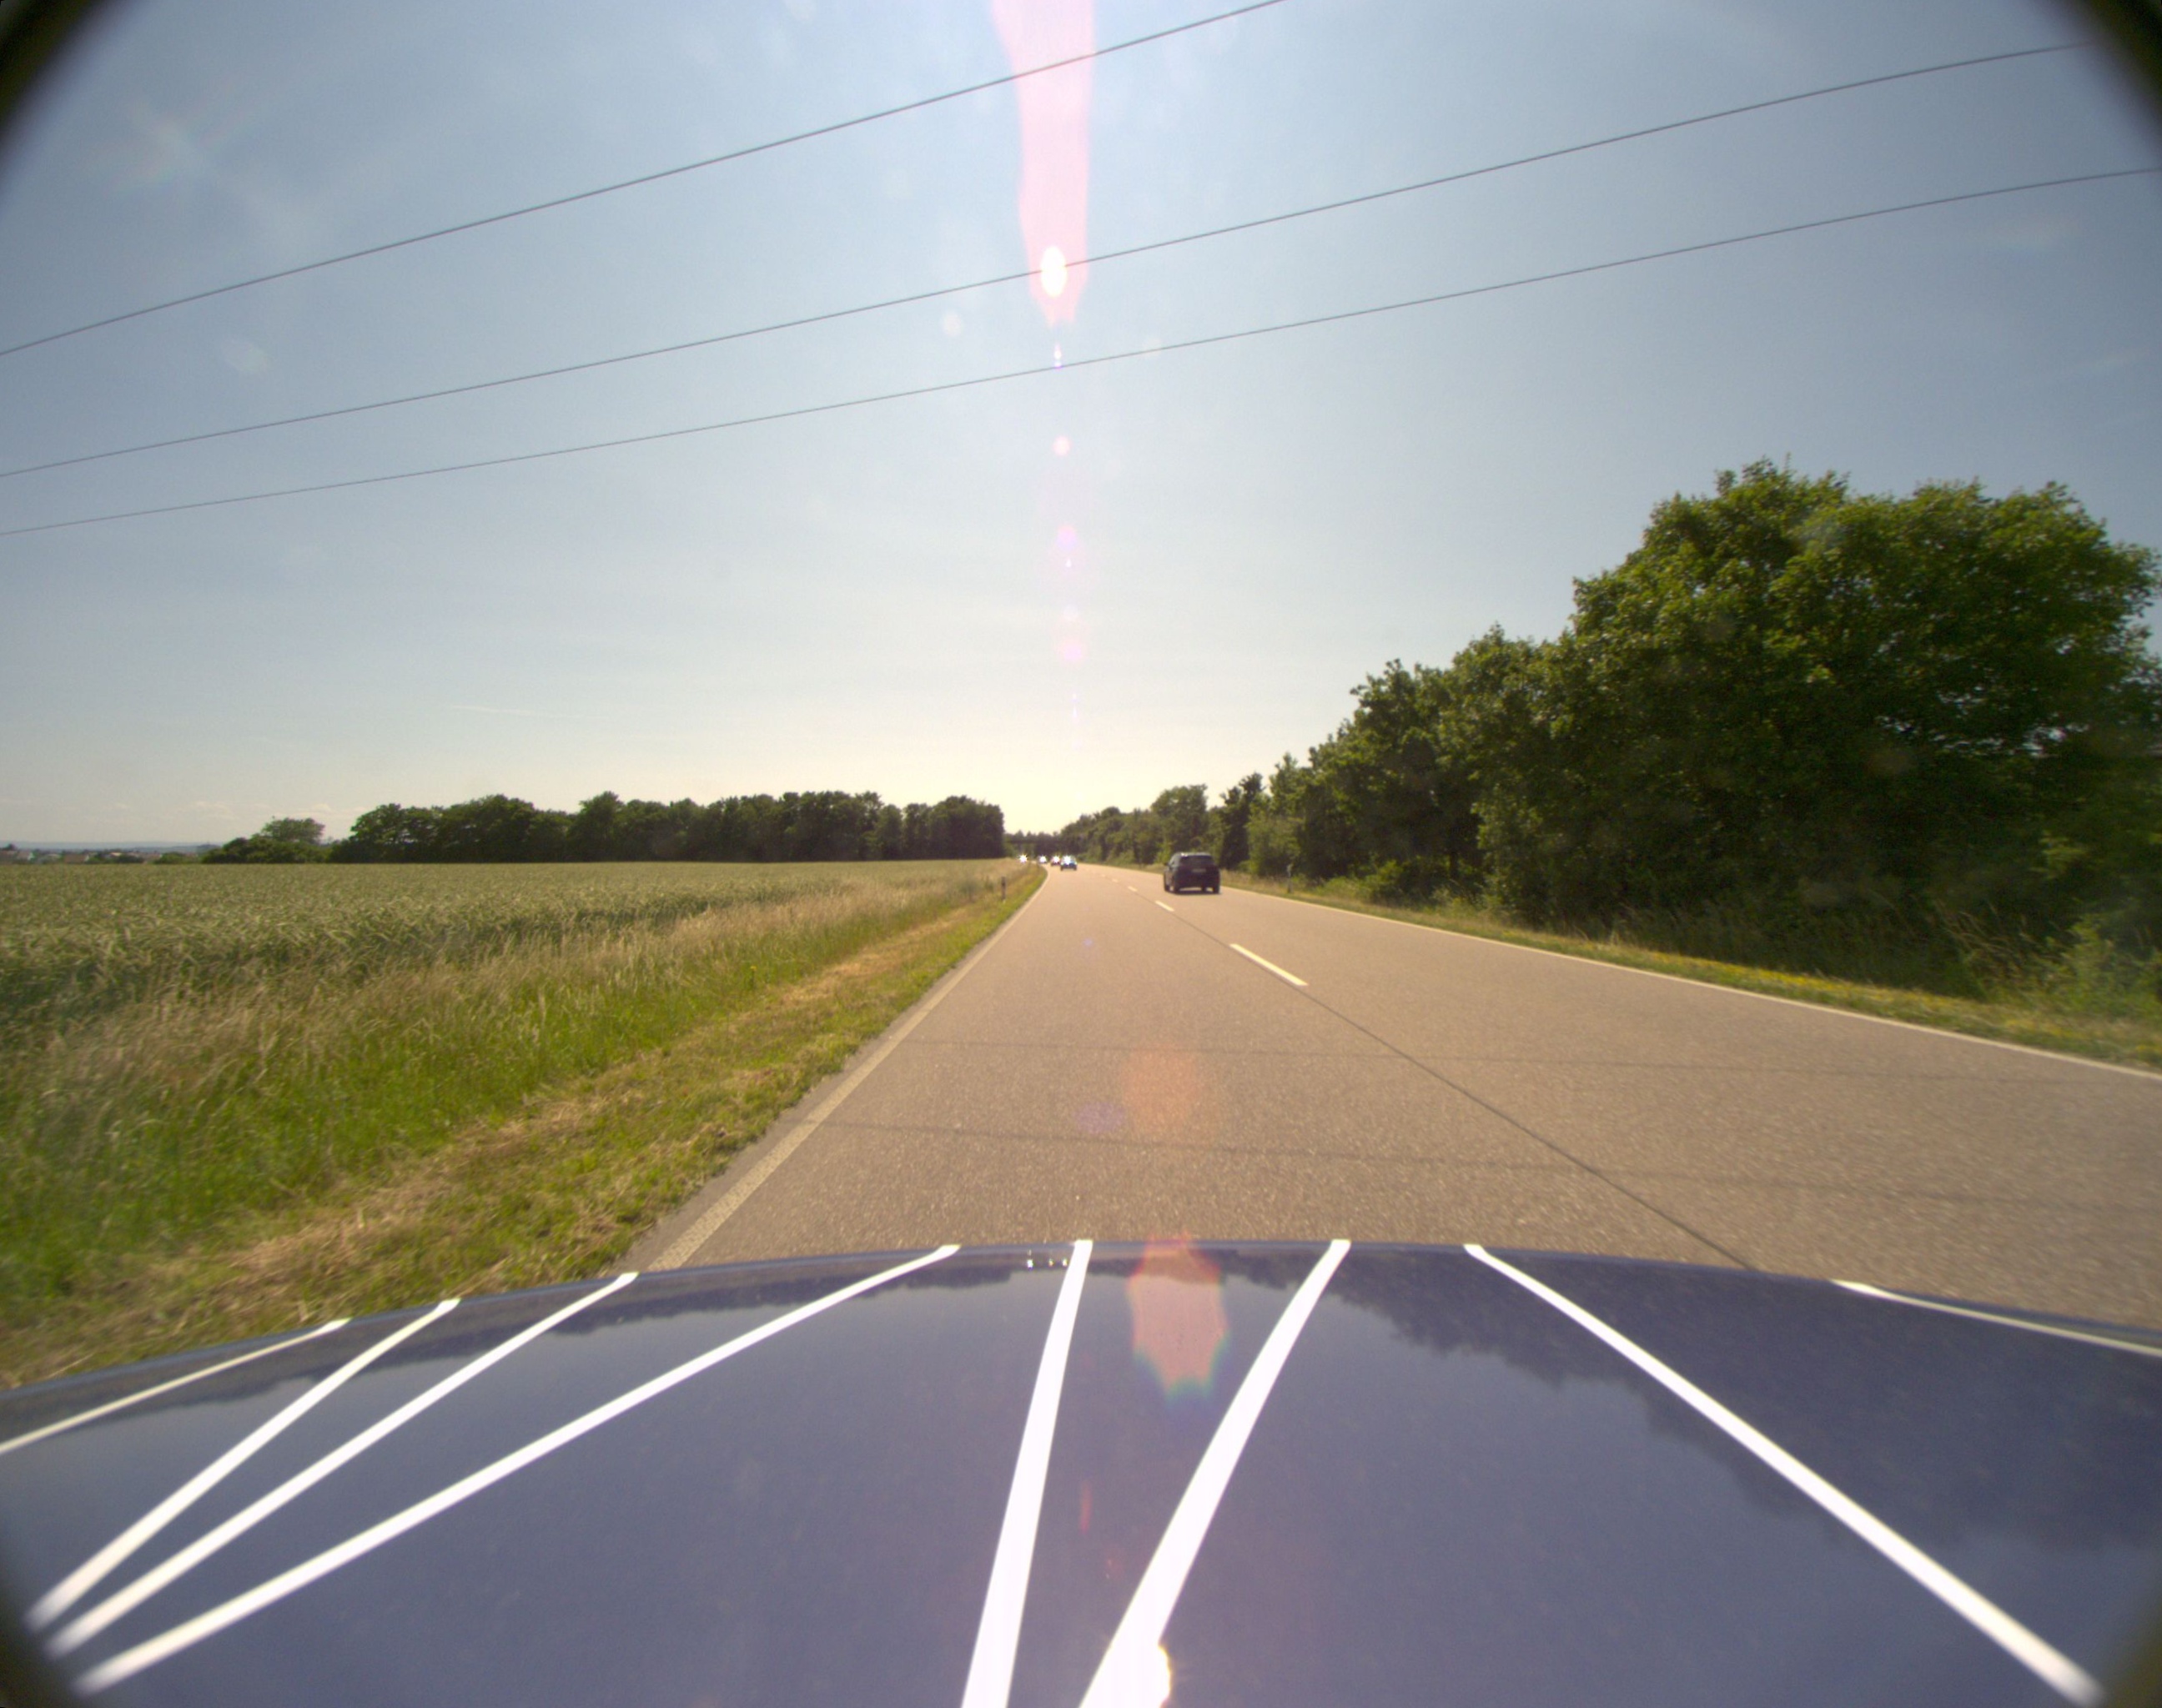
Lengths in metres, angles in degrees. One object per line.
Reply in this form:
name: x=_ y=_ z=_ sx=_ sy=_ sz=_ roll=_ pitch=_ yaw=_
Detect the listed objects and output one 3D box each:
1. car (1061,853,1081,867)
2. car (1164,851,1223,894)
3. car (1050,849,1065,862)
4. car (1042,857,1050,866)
car: x=-1.129 y=0.638 z=83.285 sx=1.694 sy=1.431 sz=3.708 roll=-1 pitch=0 yaw=-7
car: x=4.325 y=0.671 z=29.735 sx=1.703 sy=1.557 sz=3.671 roll=-1 pitch=0 yaw=0
car: x=-3.686 y=0.287 z=119.674 sx=2.000 sy=2.002 sz=3.997 roll=-2 pitch=0 yaw=-7
car: x=-7.559 y=1.608 z=163.410 sx=1.554 sy=1.659 sz=3.998 roll=-2 pitch=1 yaw=-4
